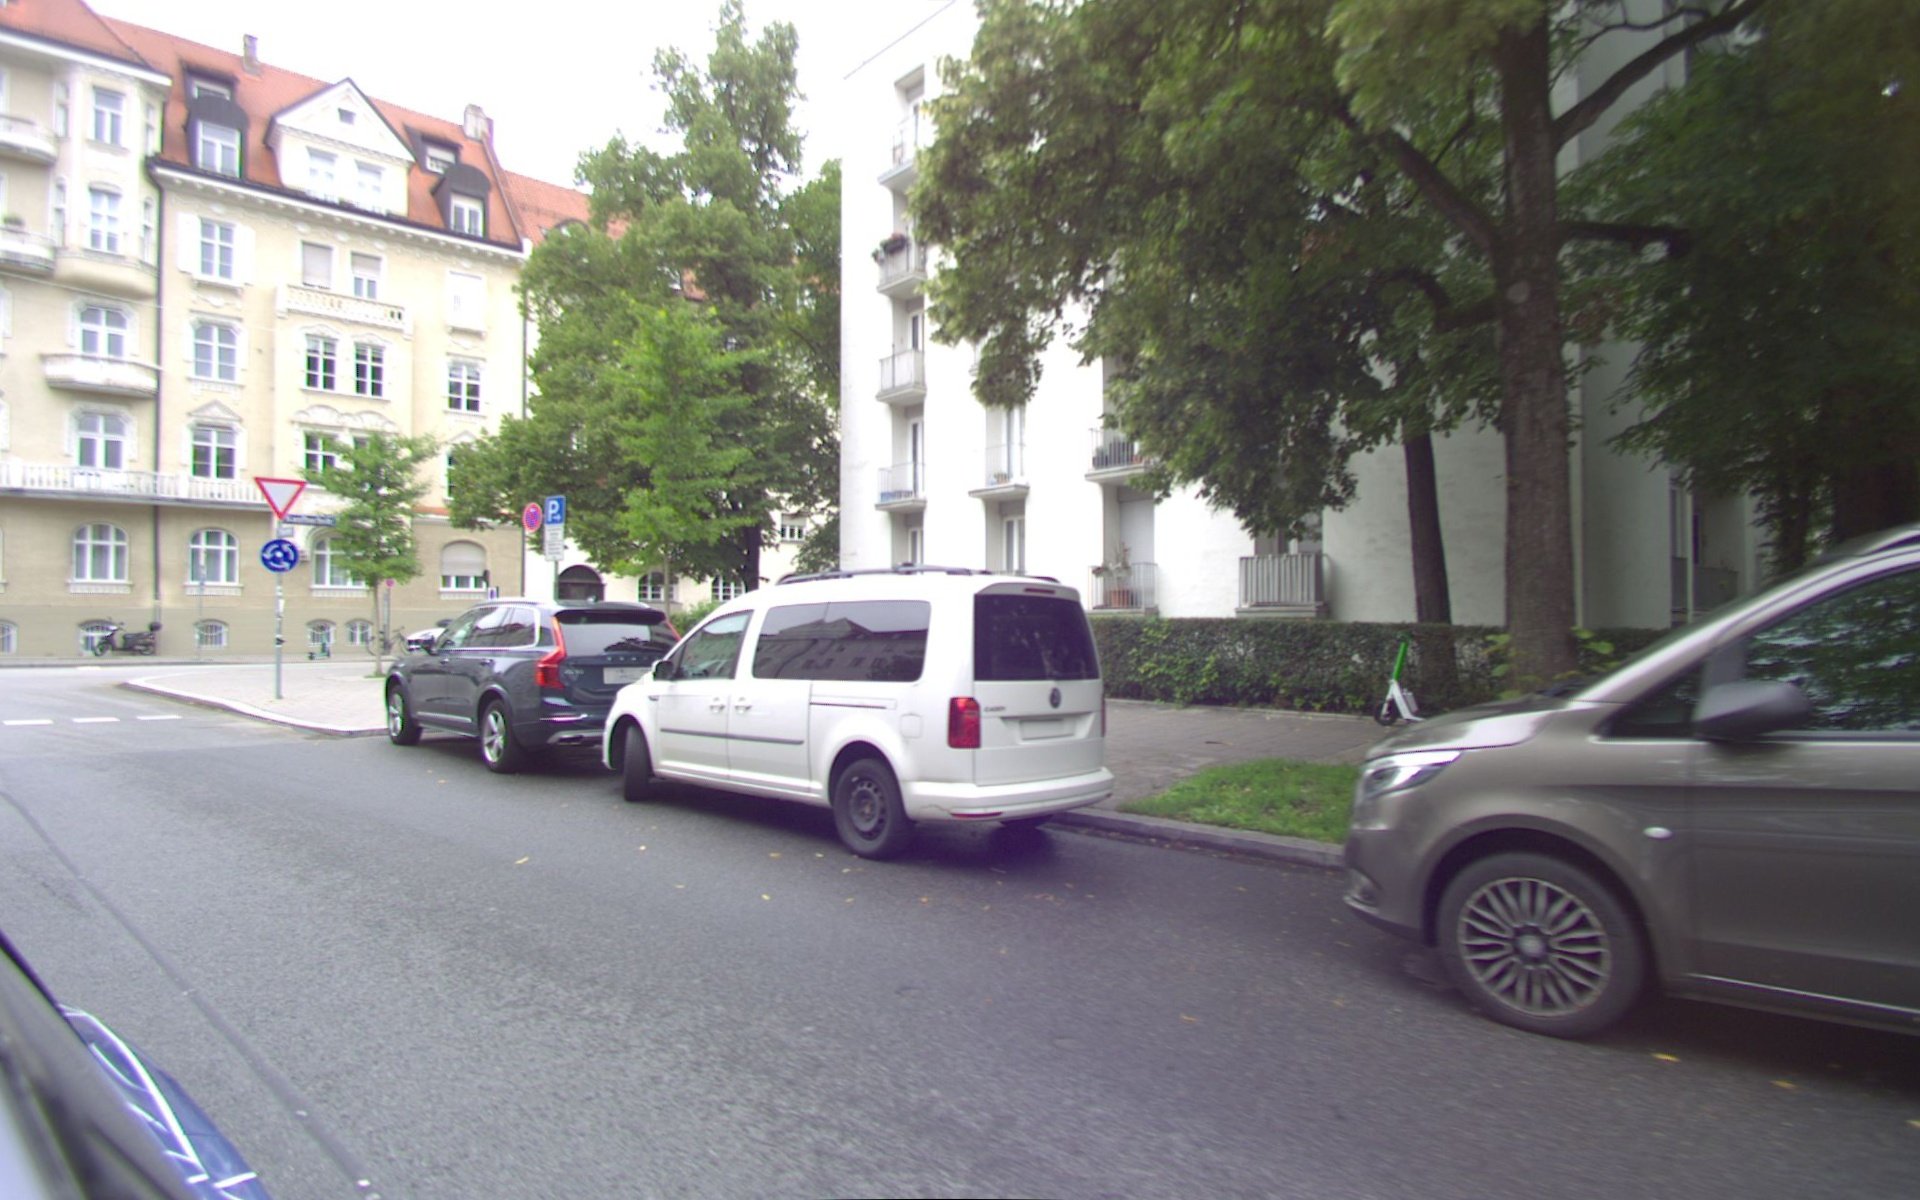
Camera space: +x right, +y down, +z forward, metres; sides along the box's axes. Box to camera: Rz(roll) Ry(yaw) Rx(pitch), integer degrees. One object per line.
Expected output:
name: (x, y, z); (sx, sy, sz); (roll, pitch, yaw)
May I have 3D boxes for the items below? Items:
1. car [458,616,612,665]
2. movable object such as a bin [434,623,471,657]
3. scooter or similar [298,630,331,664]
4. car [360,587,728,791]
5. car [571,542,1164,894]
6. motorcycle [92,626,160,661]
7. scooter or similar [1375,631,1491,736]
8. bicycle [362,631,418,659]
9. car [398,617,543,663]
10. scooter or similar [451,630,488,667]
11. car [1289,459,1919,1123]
car: (-14.008, 1.348, 33.541); (1.824, 1.517, 4.360); (-3, -3, 42)
movable object such as a bin: (-21.528, 1.694, 42.907); (1.155, 1.436, 1.096); (2, -2, -41)
scooter or similar: (-23.329, 1.699, 36.576); (0.461, 1.202, 1.216); (0, -1, -3)
car: (-4.868, 0.862, 11.425); (4.914, 1.805, 1.971); (-1, -3, 44)
car: (-0.996, 0.714, 7.905); (4.848, 1.933, 1.810); (-1, -3, 43)
motorcycle: (-29.622, 1.533, 35.972); (1.803, 1.185, 0.600); (1, -2, -43)
scooter or similar: (5.720, 0.983, 12.282); (0.394, 1.202, 1.216); (2, -2, -43)
bicycle: (-22.333, 1.761, 39.670); (1.803, 1.057, 0.565); (1, -2, -43)
car: (-19.195, 1.548, 39.799); (4.767, 1.713, 1.984); (2, -2, -43)
scooter or similar: (-14.632, 1.443, 30.181); (0.995, 1.097, 0.388); (0, -2, 21)
car: (3.955, 0.583, 3.270); (5.202, 1.948, 1.869); (-1, -3, 39)
